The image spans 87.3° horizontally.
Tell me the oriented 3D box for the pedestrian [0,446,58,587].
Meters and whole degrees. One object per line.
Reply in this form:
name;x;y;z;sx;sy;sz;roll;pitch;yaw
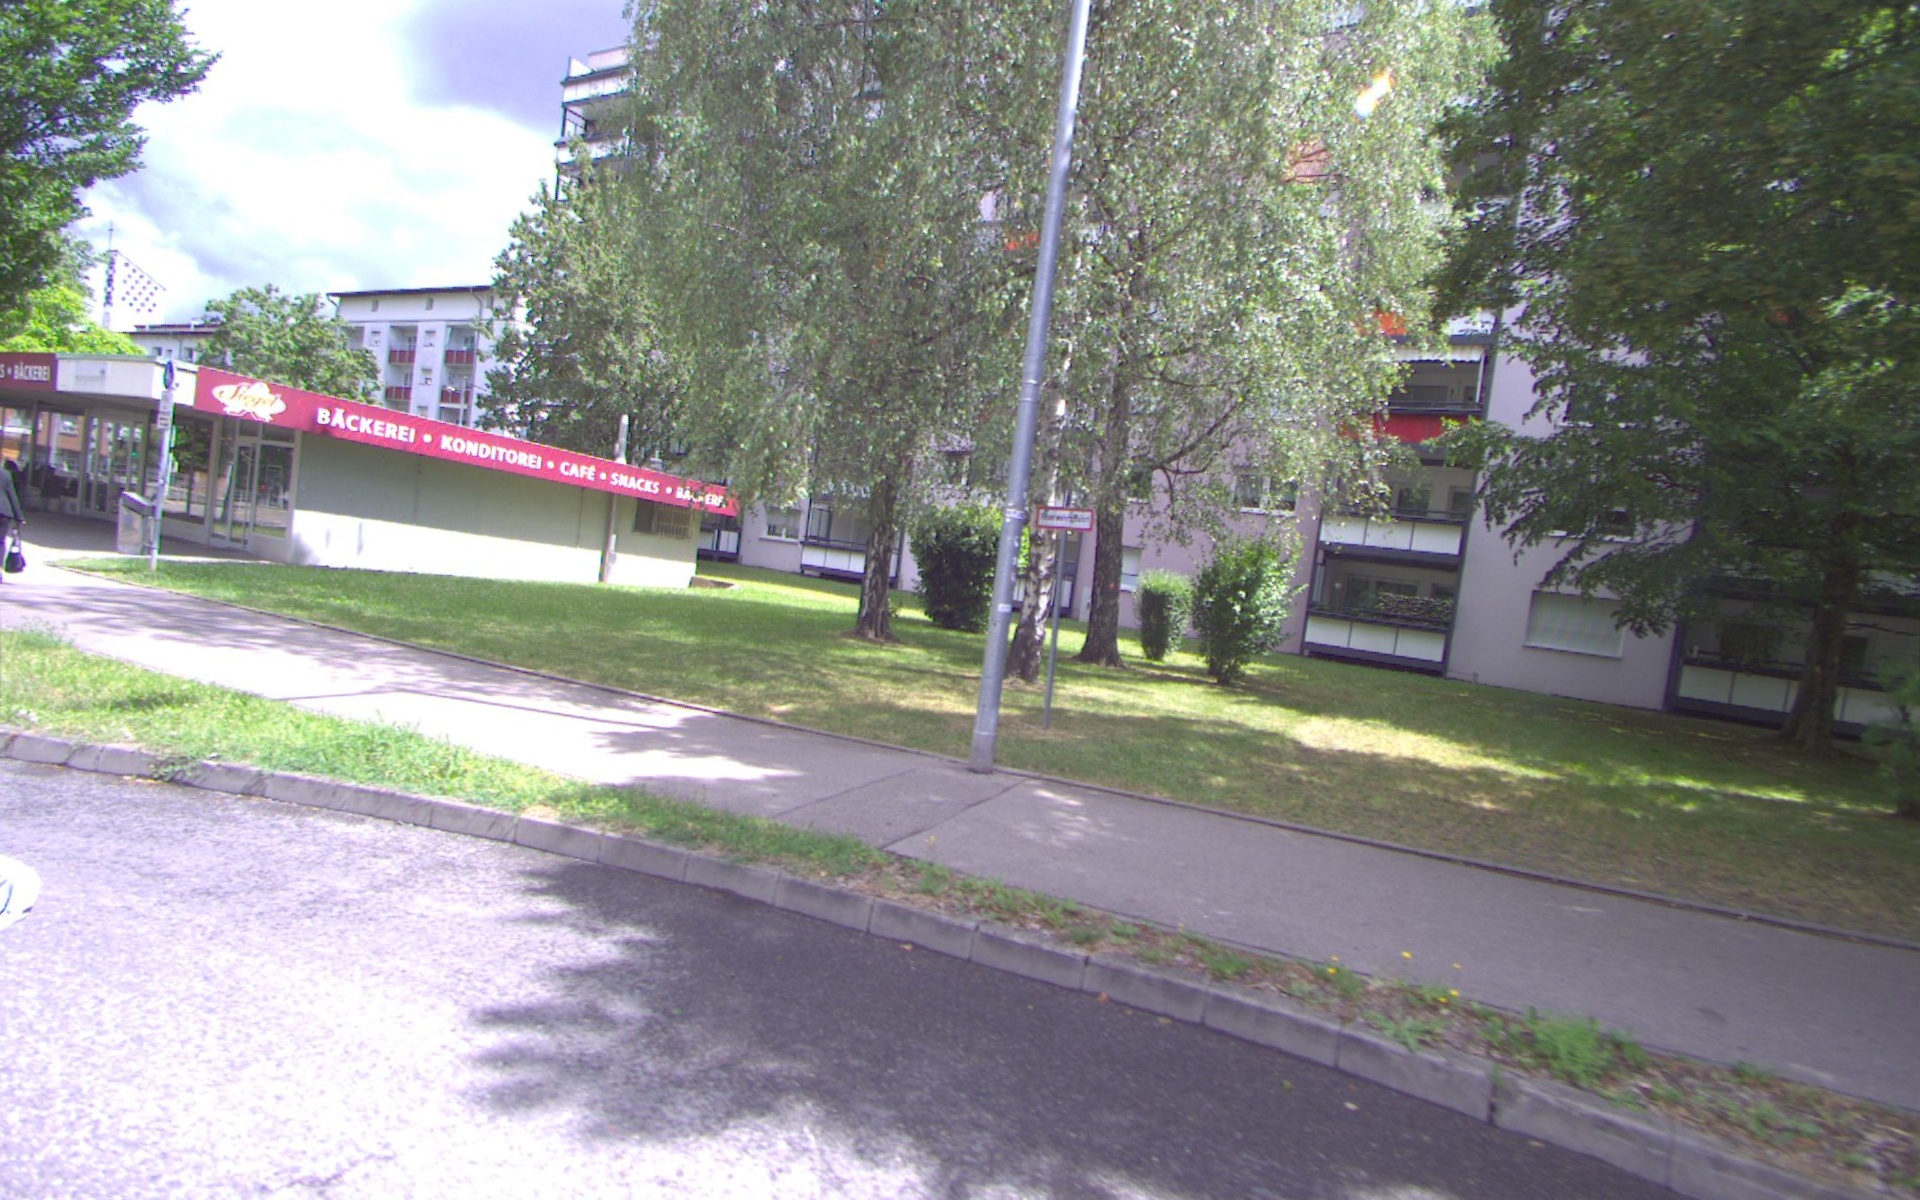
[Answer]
pedestrian;-11.008;-0.984;11.450;0.791;1.539;0.871;8;2;37

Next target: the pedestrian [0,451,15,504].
pedestrian;-26.025;-3.329;27.046;0.688;1.399;0.717;8;3;36
